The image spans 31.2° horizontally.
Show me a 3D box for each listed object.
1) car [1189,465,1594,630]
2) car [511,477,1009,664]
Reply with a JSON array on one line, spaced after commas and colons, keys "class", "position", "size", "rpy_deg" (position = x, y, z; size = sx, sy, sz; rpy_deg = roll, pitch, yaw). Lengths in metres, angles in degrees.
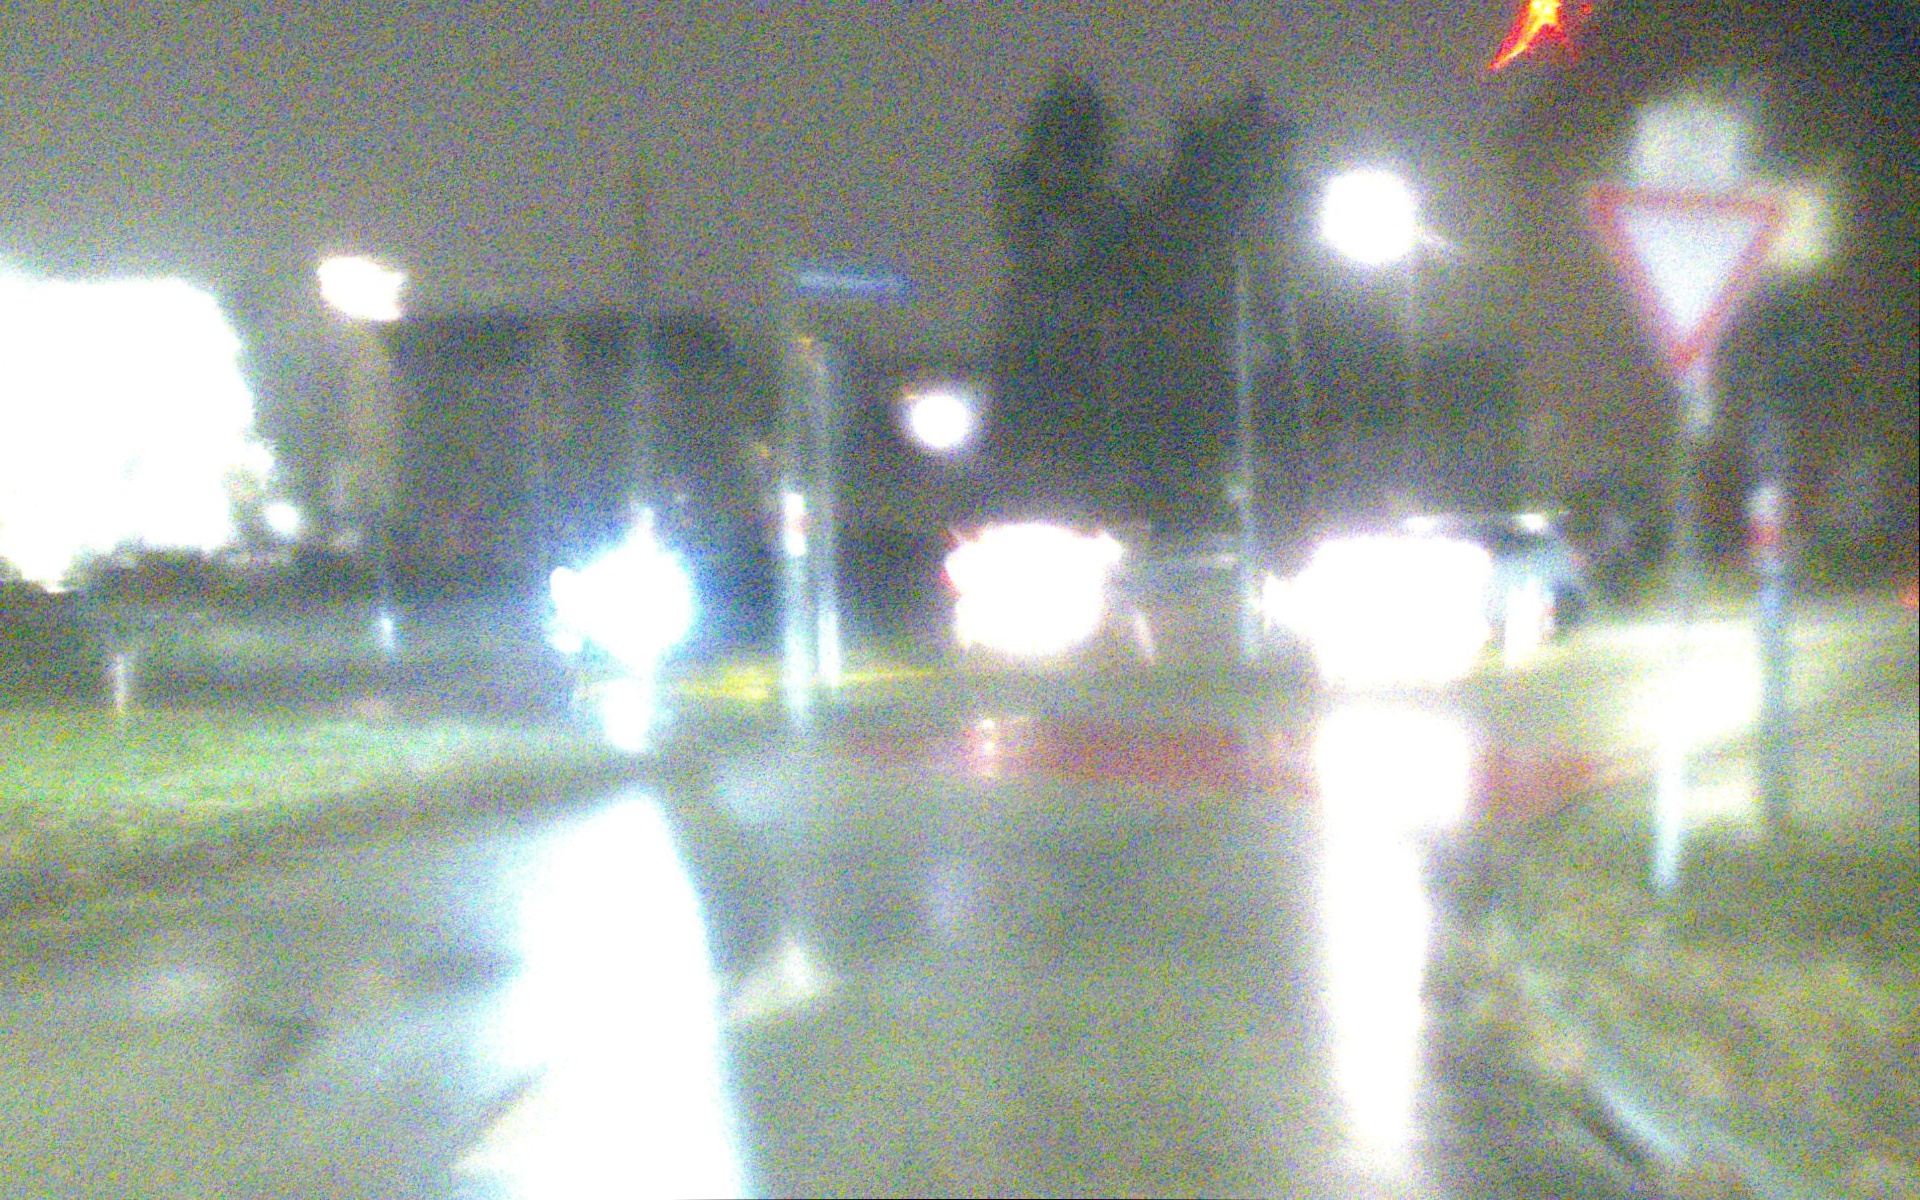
[{"class": "car", "position": [4.971, -0.646, 39.458], "size": [4.380, 1.752, 1.878], "rpy_deg": [-2, 3, -31]}, {"class": "car", "position": [-2.007, -0.349, 34.813], "size": [4.604, 1.730, 2.000], "rpy_deg": [-2, 3, -28]}]
